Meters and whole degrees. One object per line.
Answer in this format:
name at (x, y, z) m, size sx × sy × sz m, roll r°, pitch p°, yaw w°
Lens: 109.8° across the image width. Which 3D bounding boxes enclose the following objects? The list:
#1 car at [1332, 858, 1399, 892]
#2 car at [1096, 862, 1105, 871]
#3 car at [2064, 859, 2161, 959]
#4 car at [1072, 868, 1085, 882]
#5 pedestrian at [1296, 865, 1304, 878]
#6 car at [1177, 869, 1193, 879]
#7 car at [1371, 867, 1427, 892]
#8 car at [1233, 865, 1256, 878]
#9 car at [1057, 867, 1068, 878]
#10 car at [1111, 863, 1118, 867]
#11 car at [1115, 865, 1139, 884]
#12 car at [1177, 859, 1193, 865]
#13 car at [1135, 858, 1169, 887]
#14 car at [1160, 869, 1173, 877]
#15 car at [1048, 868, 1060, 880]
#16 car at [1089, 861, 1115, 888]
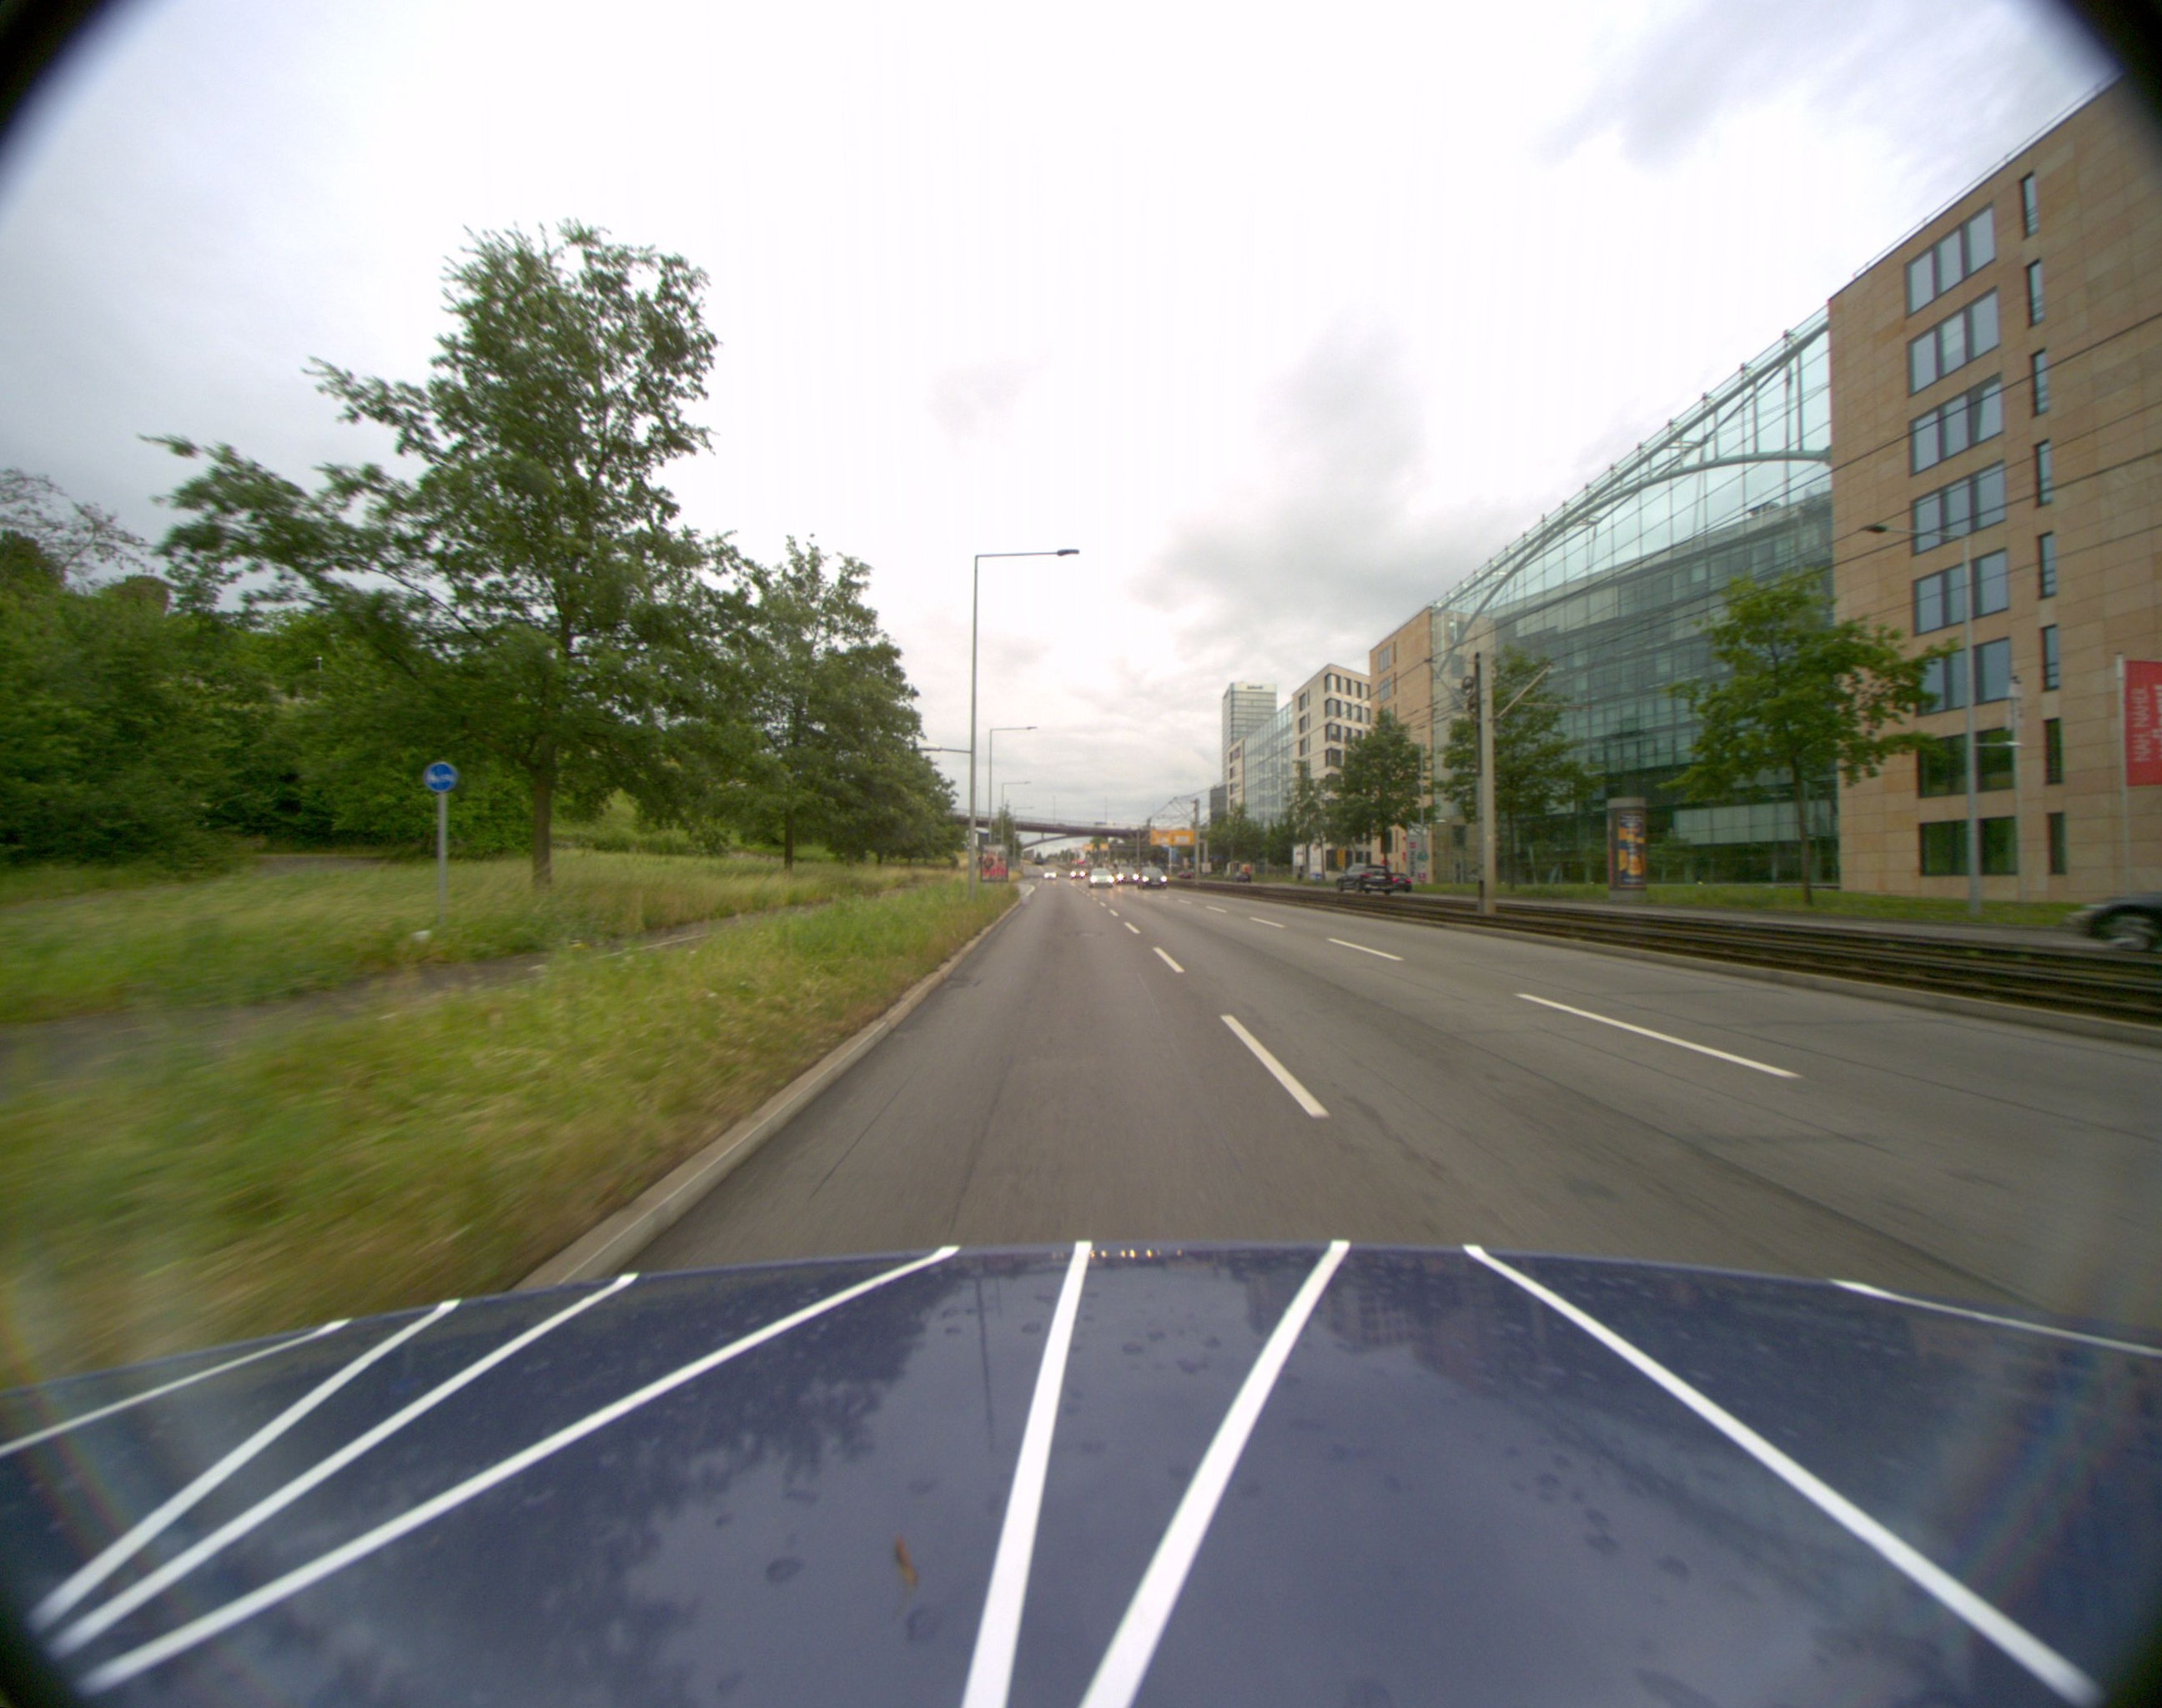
car at (15.412, 1.099, 41.424) m, size 1.810 × 1.607 × 4.384 m, roll -1°, pitch 1°, yaw -3°
car at (6.451, 3.994, 250.432) m, size 2.390 × 2.801 × 5.610 m, roll -1°, pitch 0°, yaw -2°
car at (16.874, 0.864, 10.229) m, size 1.672 × 1.453 × 4.237 m, roll 2°, pitch 1°, yaw -2°
car at (-0.392, 3.183, 116.070) m, size 1.794 × 1.858 × 4.376 m, roll -1°, pitch 1°, yaw -1°
pedestrian at (27.864, 2.262, 96.721) m, size 0.643 × 1.622 × 0.831 m, roll -1°, pitch 1°, yaw -5°
car at (17.212, 3.313, 125.681) m, size 1.846 × 1.477 × 4.653 m, roll 3°, pitch -1°, yaw -2°
car at (21.855, 1.724, 52.385) m, size 1.672 × 1.453 × 4.235 m, roll -1°, pitch 1°, yaw -6°
car at (21.110, 2.283, 98.515) m, size 1.846 × 1.477 × 4.430 m, roll 3°, pitch -1°, yaw -2°
car at (-3.149, 3.209, 132.730) m, size 1.794 × 1.621 × 4.376 m, roll -1°, pitch 1°, yaw -1°
car at (10.583, 3.517, 242.746) m, size 1.764 × 1.524 × 4.817 m, roll -1°, pitch -1°, yaw -2°
car at (4.145, 1.856, 69.442) m, size 1.794 × 1.535 × 4.376 m, roll -1°, pitch 1°, yaw -1°
car at (30.615, 2.388, 223.119) m, size 4.364 × 1.495 × 1.885 m, roll -1°, pitch 1°, yaw 0°
car at (4.888, 1.239, 52.911) m, size 1.794 × 1.858 × 4.376 m, roll -1°, pitch 1°, yaw -1°
car at (17.108, 3.852, 151.473) m, size 1.846 × 1.477 × 4.653 m, roll 3°, pitch -1°, yaw -2°
car at (-4.095, 3.069, 116.504) m, size 1.794 × 1.621 × 4.376 m, roll -1°, pitch 1°, yaw -1°
car at (1.579, 1.577, 58.649) m, size 1.794 × 1.858 × 4.376 m, roll -1°, pitch 1°, yaw -1°
